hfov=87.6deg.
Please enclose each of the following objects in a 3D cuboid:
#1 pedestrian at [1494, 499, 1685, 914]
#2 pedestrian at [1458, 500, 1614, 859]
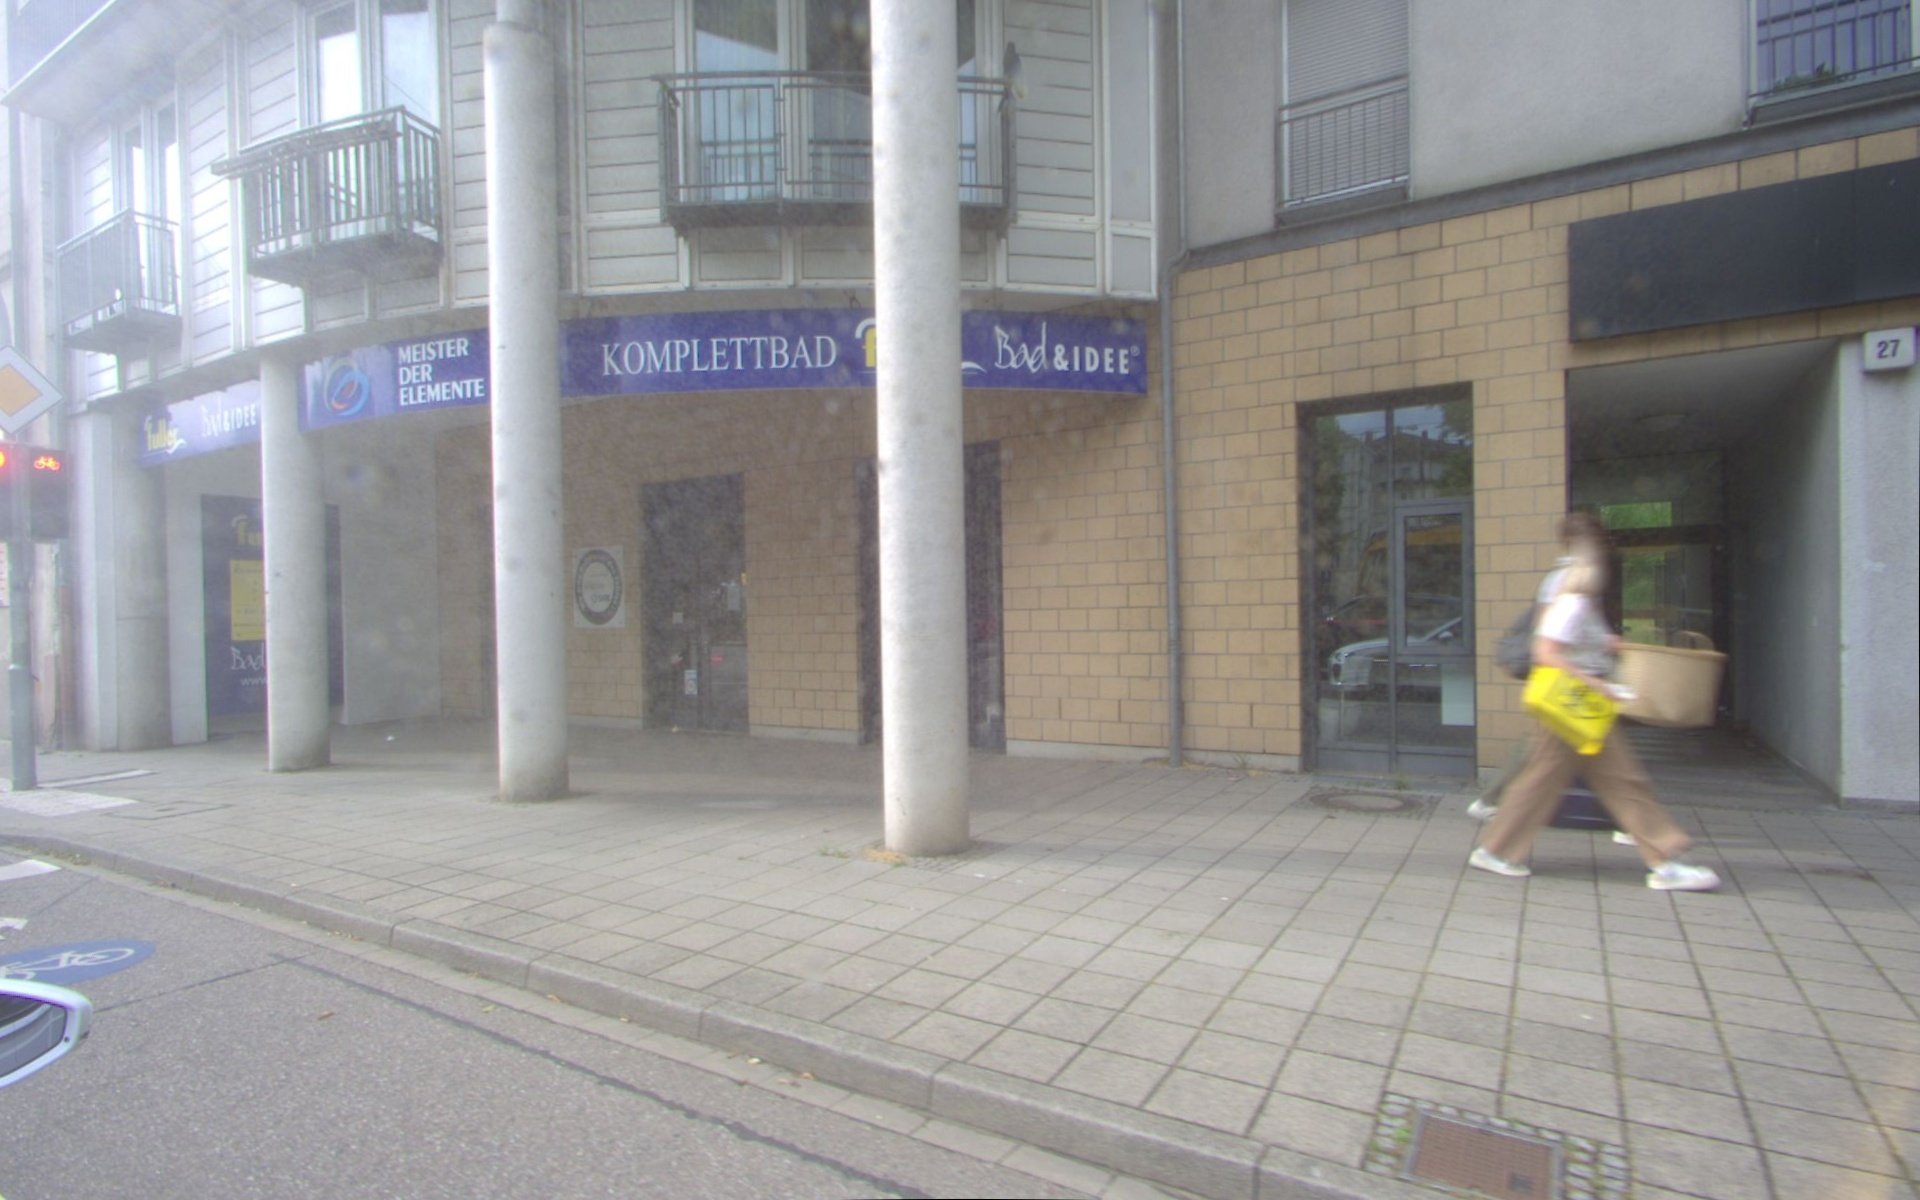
[{"bbox_3d":[3.053,0.477,4.877,0.727,1.829,0.614,-1,1,33],"label":"pedestrian"},{"bbox_3d":[3.354,0.433,5.822,0.727,1.916,0.673,-1,1,33],"label":"pedestrian"}]
